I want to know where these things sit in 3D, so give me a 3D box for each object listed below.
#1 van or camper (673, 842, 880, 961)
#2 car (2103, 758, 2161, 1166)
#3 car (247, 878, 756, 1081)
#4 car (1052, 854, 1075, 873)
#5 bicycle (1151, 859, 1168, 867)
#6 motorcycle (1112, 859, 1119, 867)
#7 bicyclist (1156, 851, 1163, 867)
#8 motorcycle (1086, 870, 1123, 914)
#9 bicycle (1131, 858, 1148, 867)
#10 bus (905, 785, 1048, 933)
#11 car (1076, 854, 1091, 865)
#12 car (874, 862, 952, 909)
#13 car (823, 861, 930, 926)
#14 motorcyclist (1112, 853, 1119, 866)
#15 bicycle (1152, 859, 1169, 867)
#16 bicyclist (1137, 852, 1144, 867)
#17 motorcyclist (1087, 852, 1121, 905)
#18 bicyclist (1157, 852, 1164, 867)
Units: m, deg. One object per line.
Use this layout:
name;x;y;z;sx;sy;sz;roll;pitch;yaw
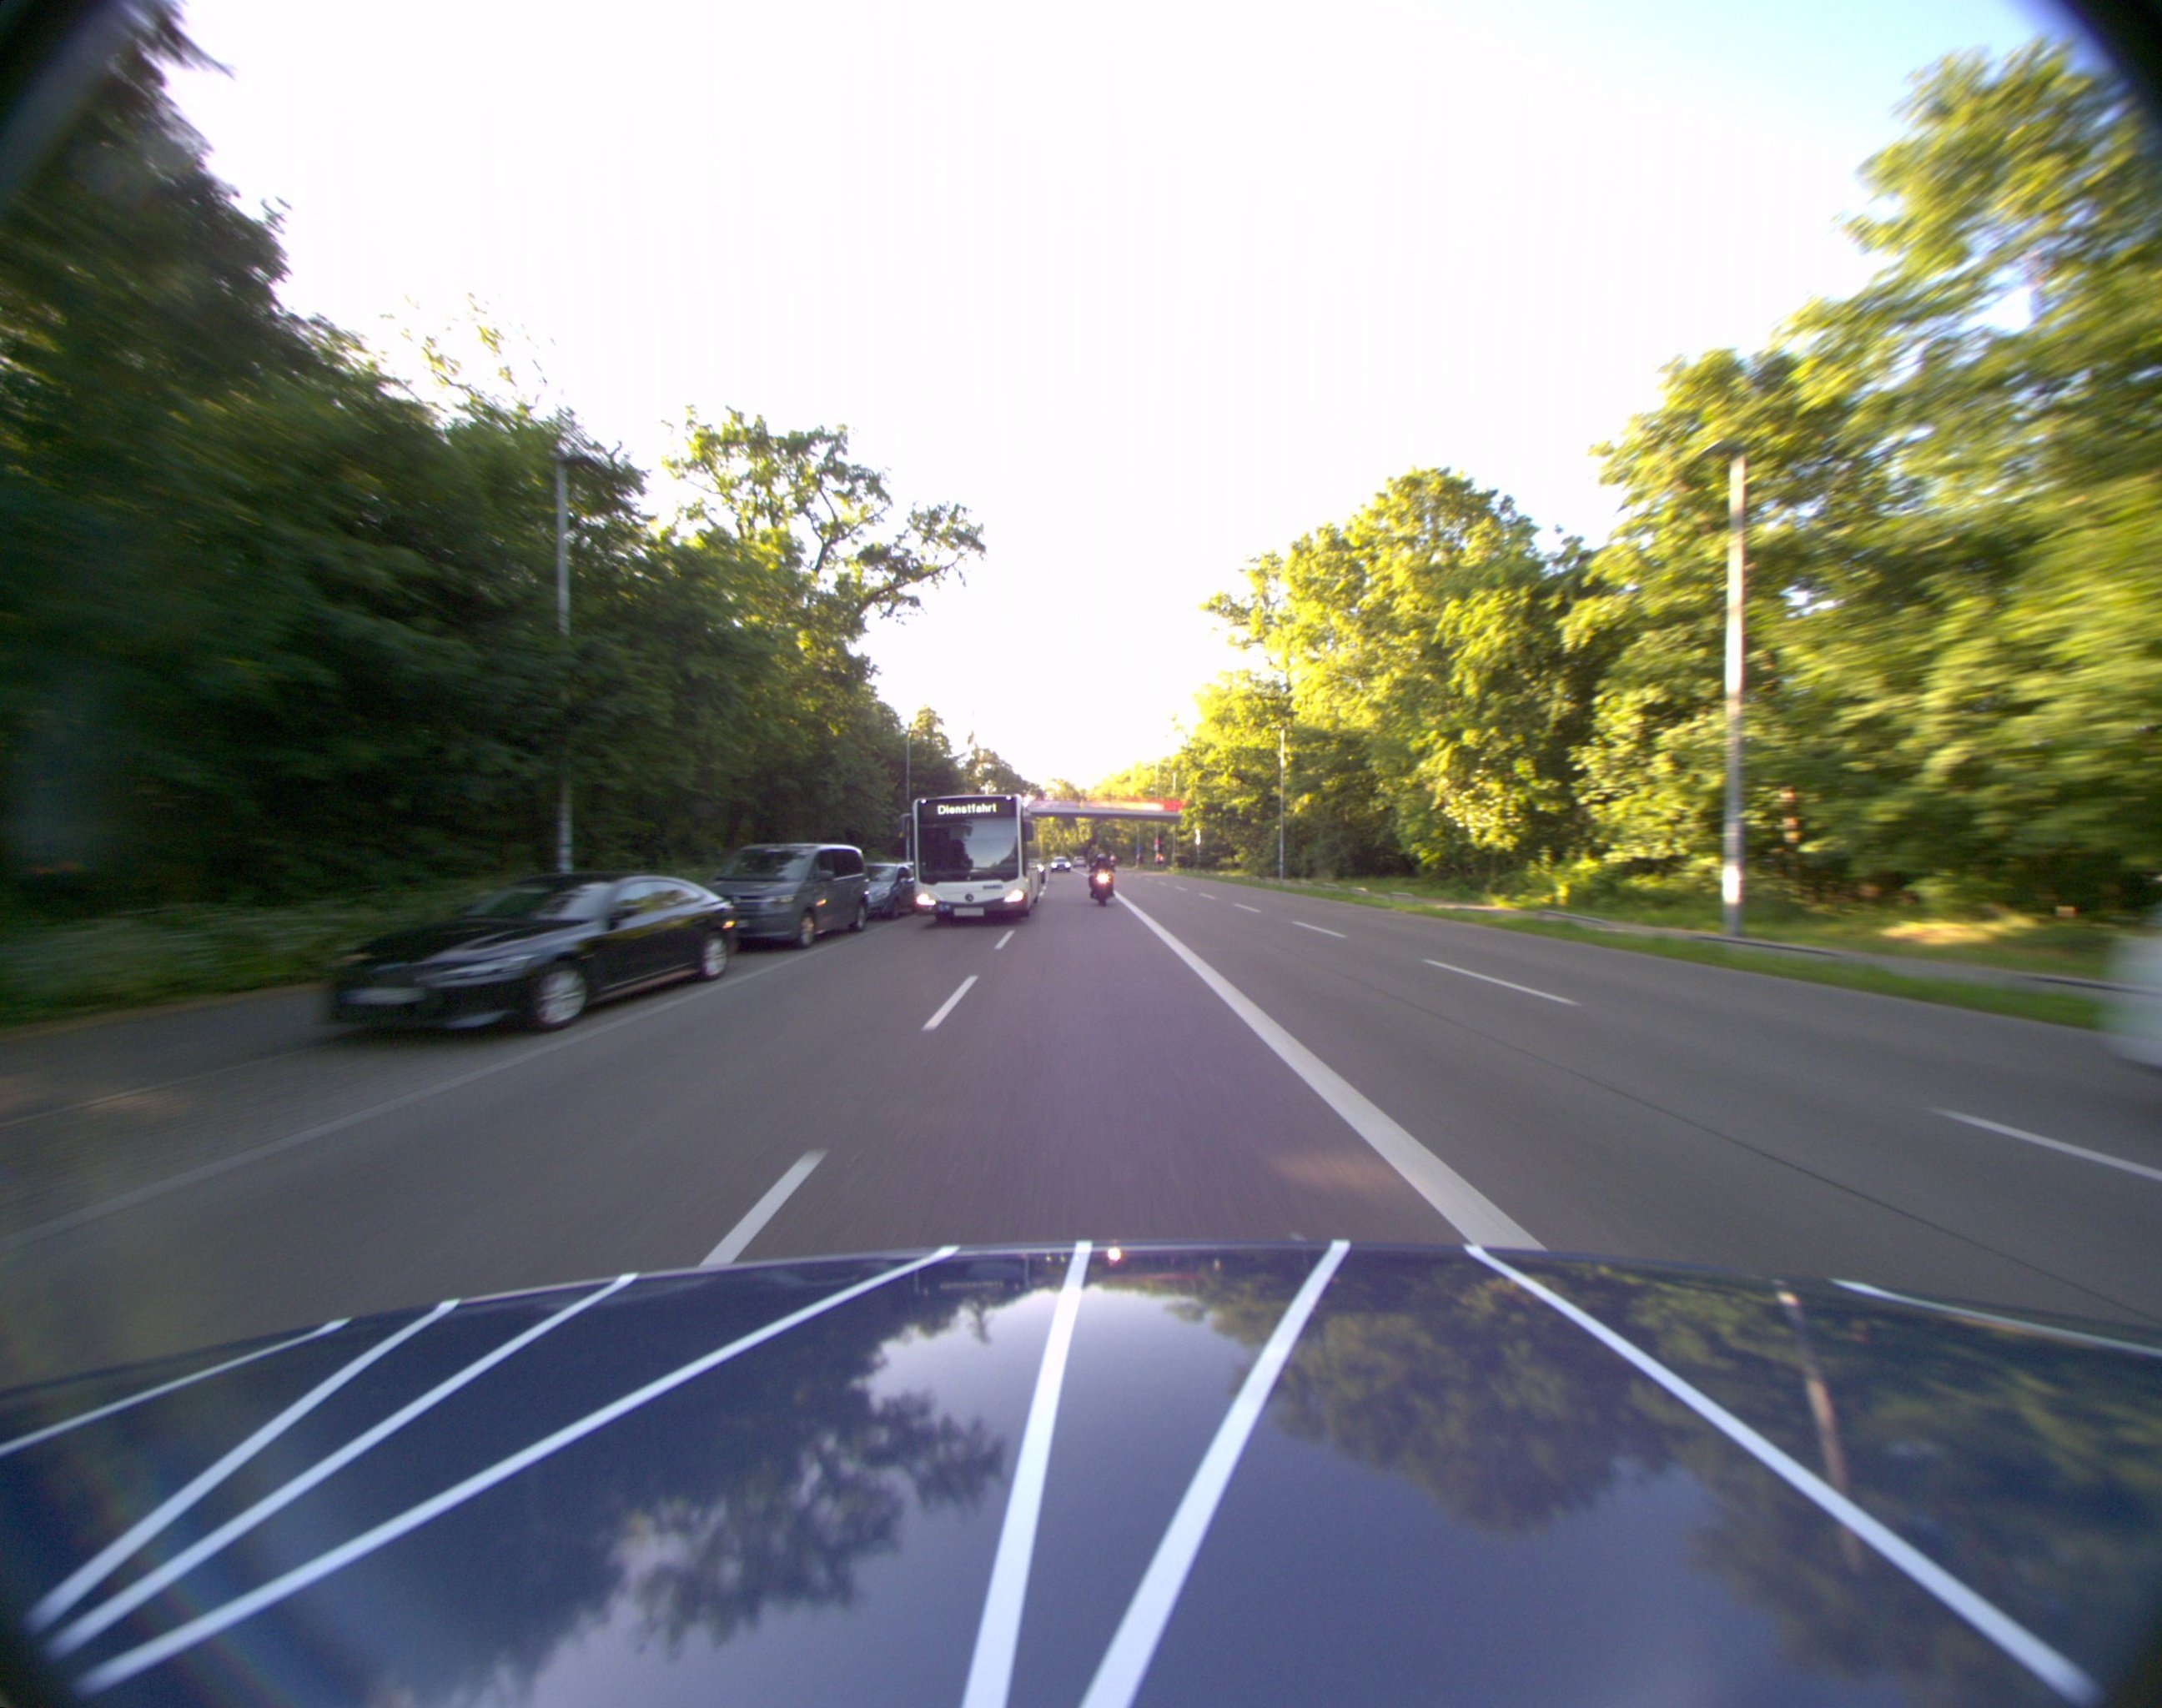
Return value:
van or camper;-5.646;0.774;14.970;1.897;1.937;5.134;0;0;2
car;6.278;0.527;1.413;1.999;1.981;4.996;-2;1;-1
car;-5.717;1.079;8.570;1.843;1.433;4.957;1;0;1
car;-1.751;0.881;75.111;1.999;1.761;4.230;-1;0;-4
bicycle;9.121;1.069;88.033;1.930;0.929;0.825;0;0;6
motorcycle;4.128;1.052;90.827;0.638;0.989;2.076;-2;0;-2
bicyclist;9.077;0.552;88.024;0.797;1.890;0.817;-1;0;6
motorcycle;0.675;1.103;22.853;0.956;1.098;3.339;-3;0;1
bicycle;6.724;0.980;87.194;1.930;0.929;0.825;-1;0;6
bus;-2.571;0.102;22.856;2.711;3.203;12.277;-1;0;-1
car;0.306;0.701;98.284;1.686;1.398;3.889;-2;0;-2
car;-5.639;1.013;26.028;1.732;1.433;4.100;0;0;0
car;-5.501;1.001;20.987;1.732;1.535;4.217;1;0;1
motorcyclist;4.127;0.627;90.954;0.726;1.496;0.671;-1;1;-2
bicycle;9.078;1.061;86.732;1.930;0.929;0.825;0;0;6
bicyclist;6.835;0.608;87.174;0.797;1.634;0.841;-1;0;6
motorcyclist;0.685;0.722;23.041;0.953;1.523;1.074;-2;0;1
bicyclist;9.096;0.643;86.737;0.797;1.687;0.946;-1;0;6
